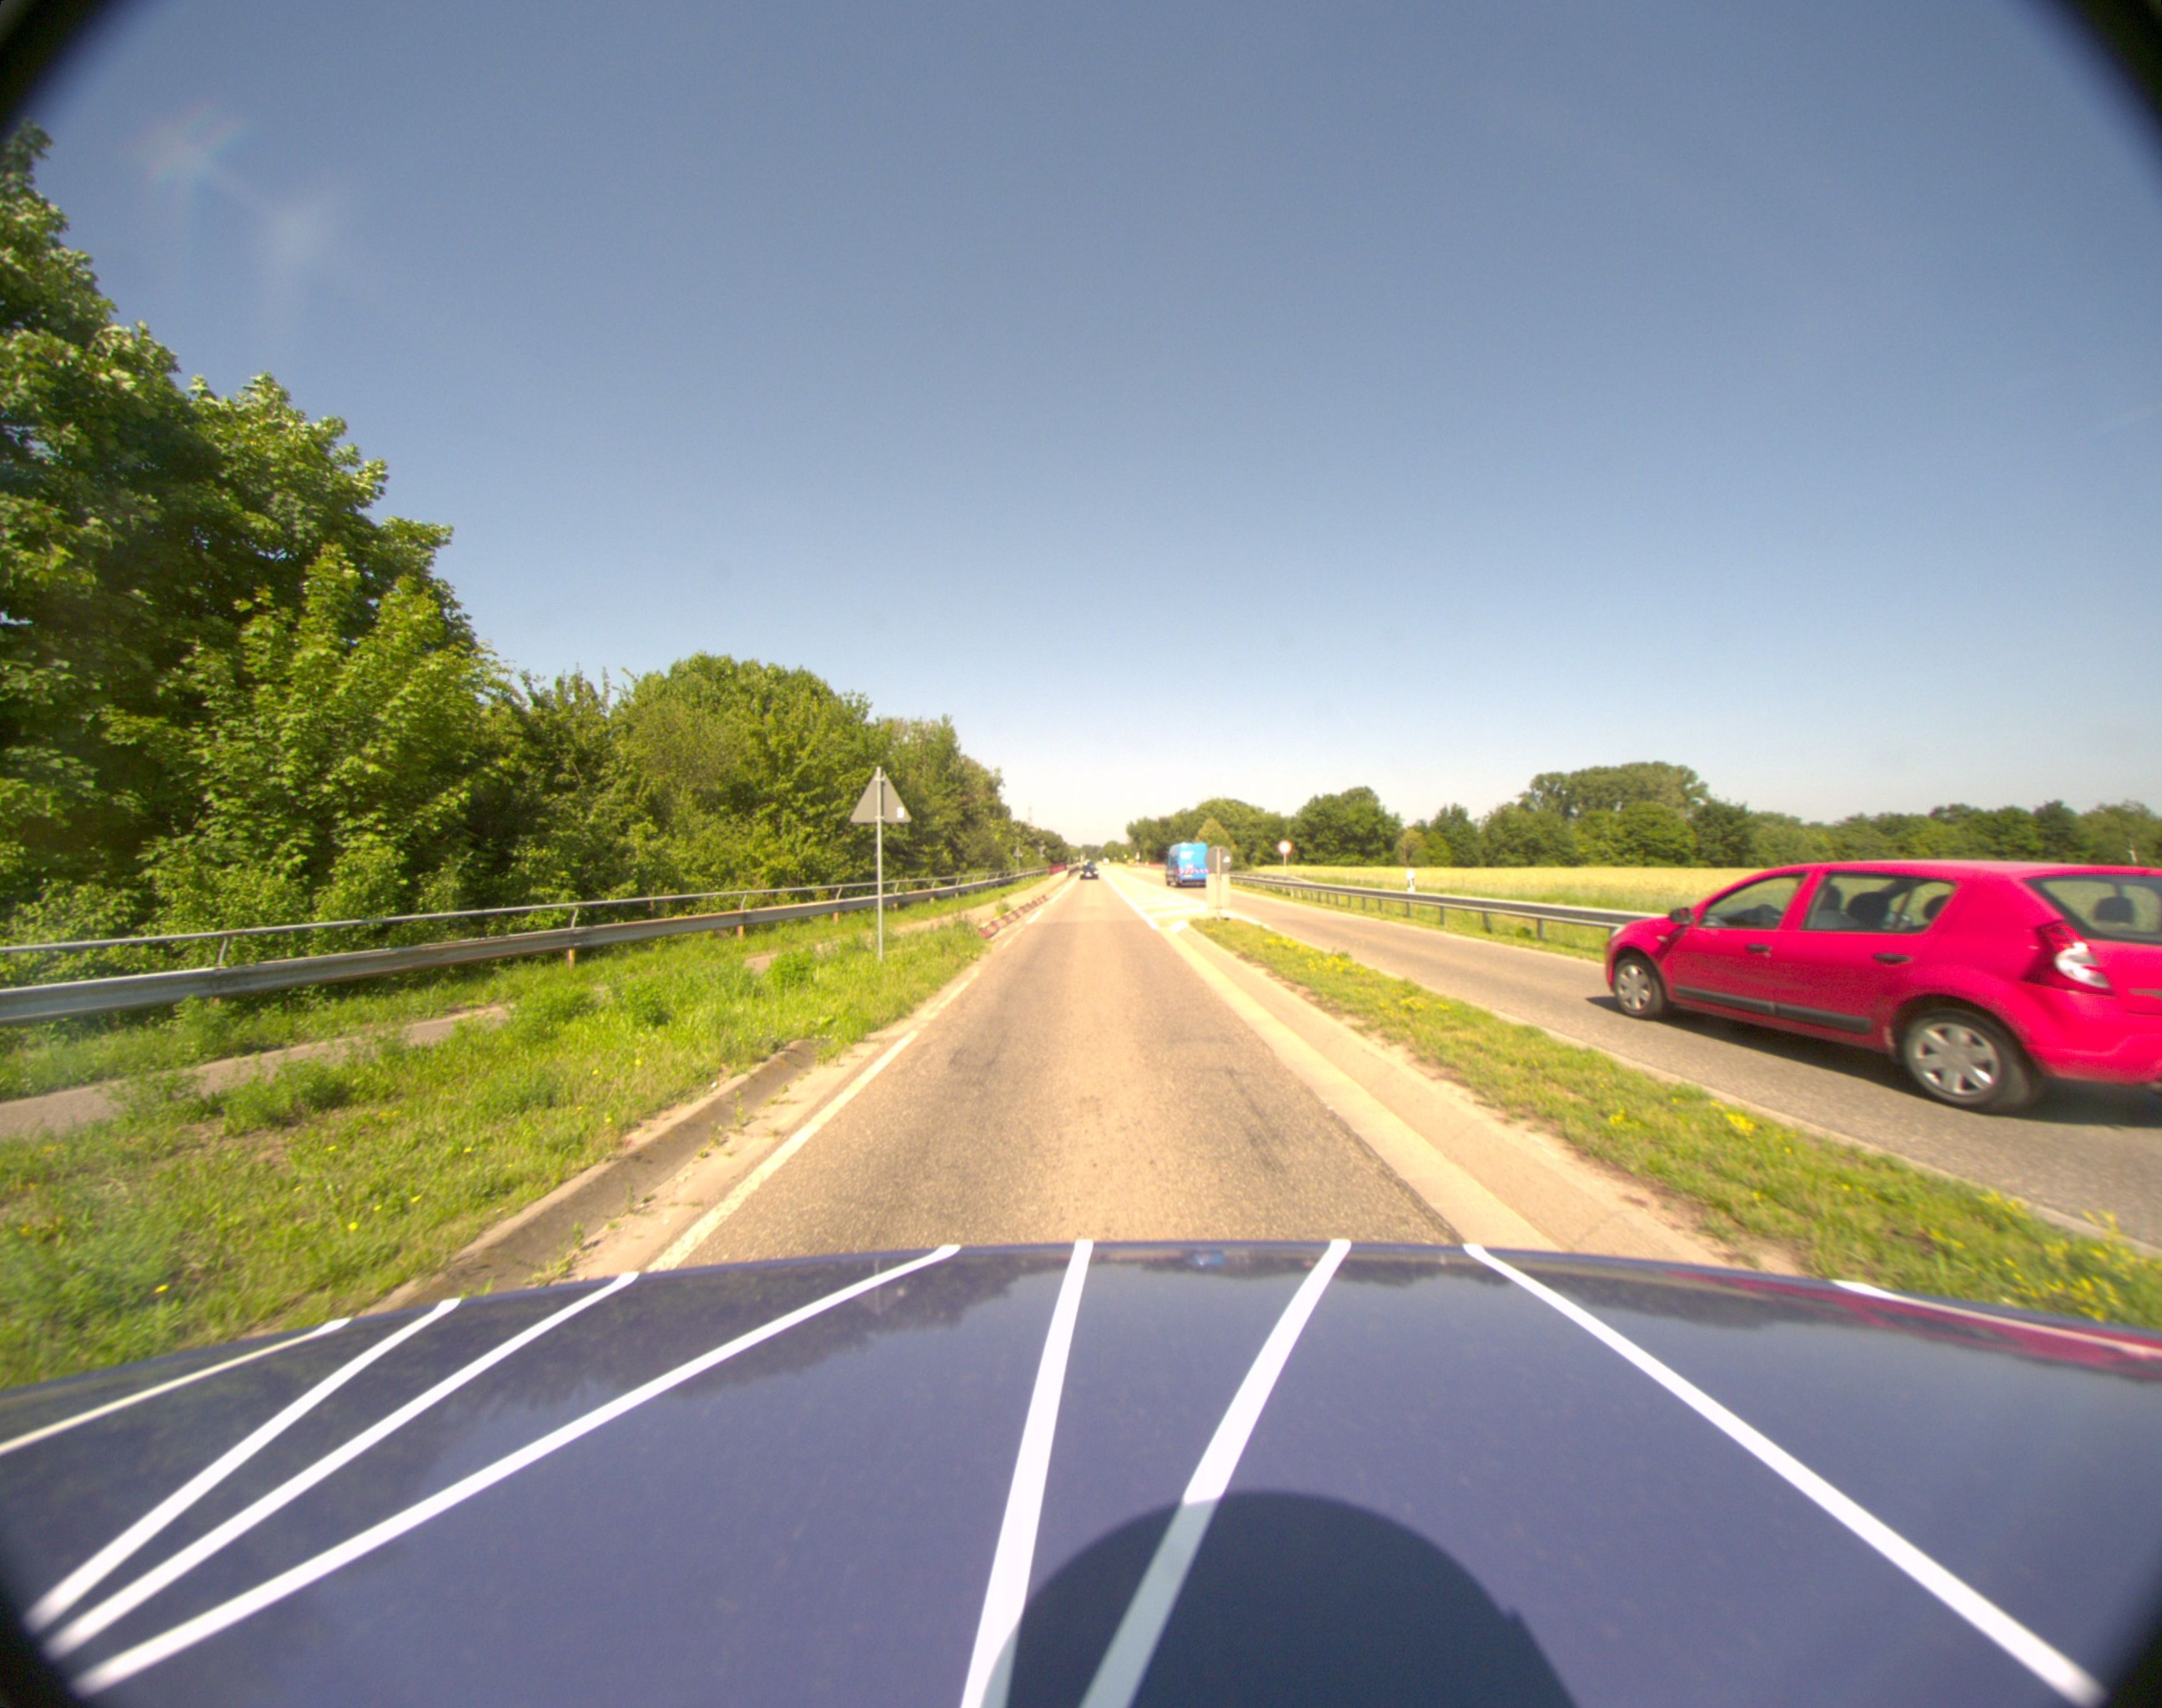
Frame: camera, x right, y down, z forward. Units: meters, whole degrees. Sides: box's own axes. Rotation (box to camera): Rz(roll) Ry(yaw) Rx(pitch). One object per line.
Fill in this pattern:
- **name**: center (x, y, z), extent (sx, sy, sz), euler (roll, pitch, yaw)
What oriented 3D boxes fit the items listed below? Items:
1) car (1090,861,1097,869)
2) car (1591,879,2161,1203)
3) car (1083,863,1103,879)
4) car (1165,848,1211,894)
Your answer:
- **car**: center (2.787, 2.361, 164.926), extent (1.461, 1.637, 3.536), euler (-1, 0, 0)
- **car**: center (5.918, 0.993, 5.671), extent (1.631, 1.482, 3.802), euler (0, 0, -1)
- **car**: center (1.145, 1.627, 71.882), extent (1.806, 1.390, 4.180), euler (-1, 0, 2)
- **car**: center (6.591, 1.002, 47.561), extent (1.998, 2.596, 7.291), euler (1, 0, 2)
